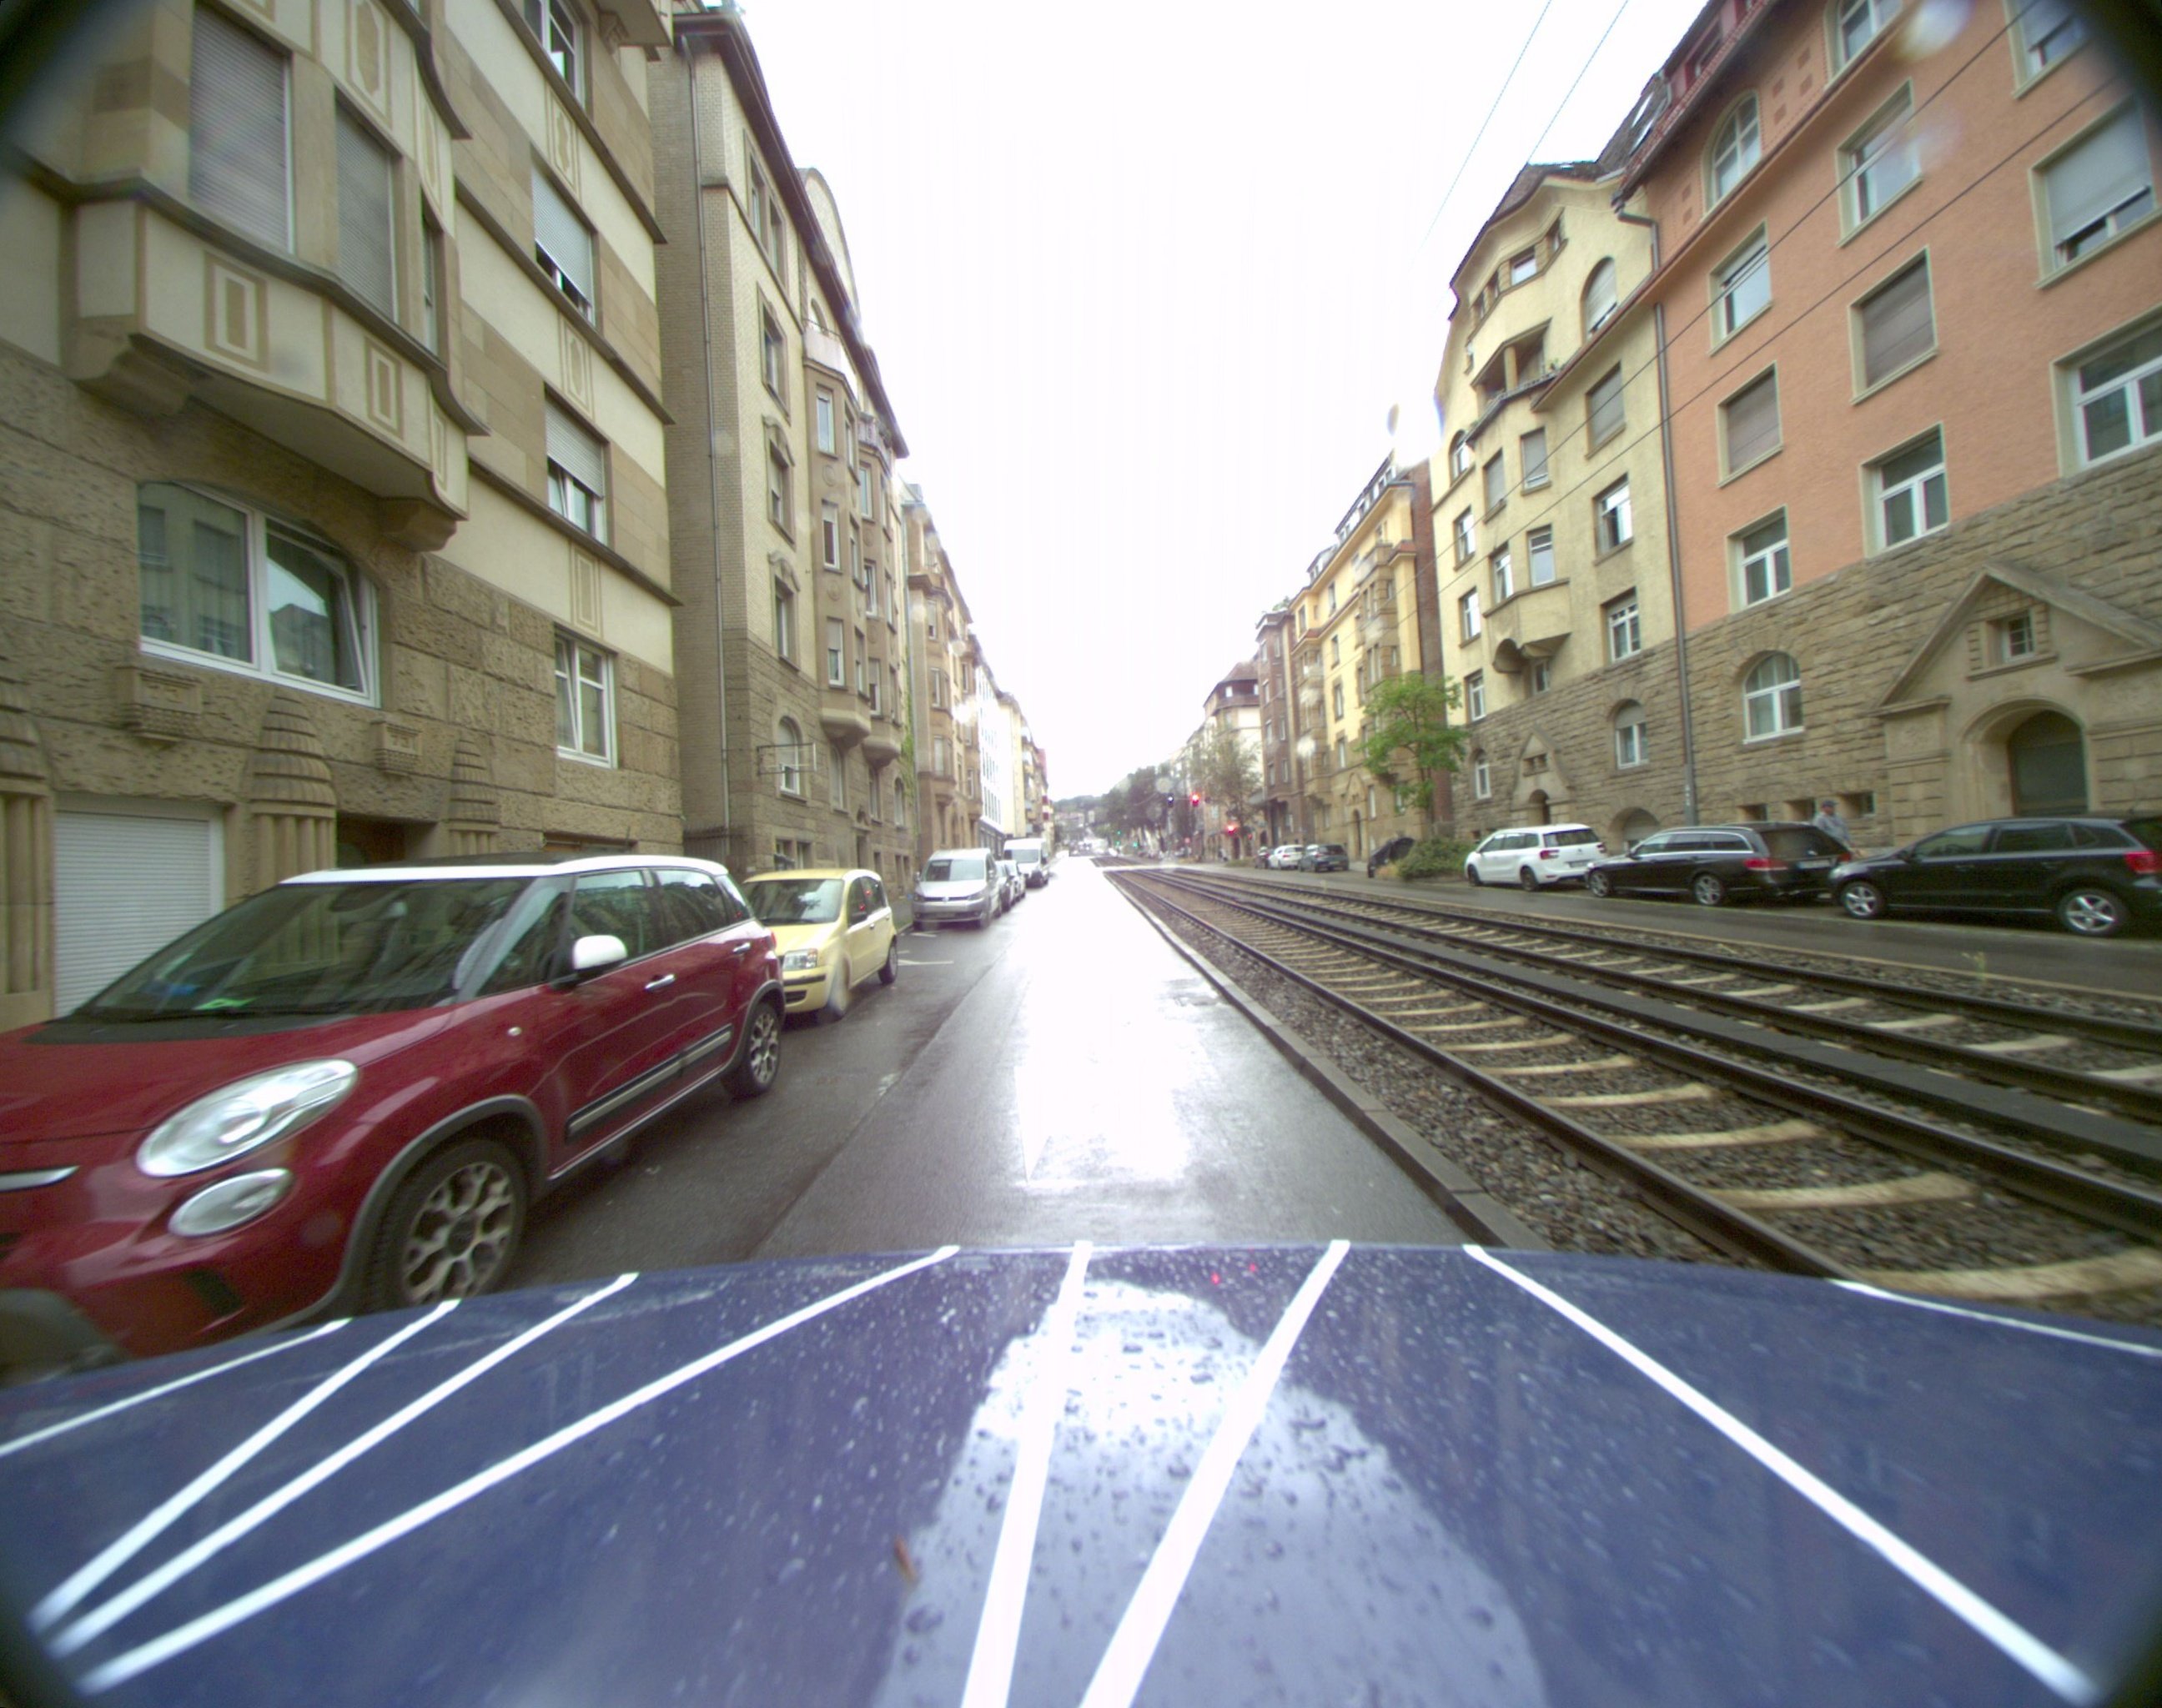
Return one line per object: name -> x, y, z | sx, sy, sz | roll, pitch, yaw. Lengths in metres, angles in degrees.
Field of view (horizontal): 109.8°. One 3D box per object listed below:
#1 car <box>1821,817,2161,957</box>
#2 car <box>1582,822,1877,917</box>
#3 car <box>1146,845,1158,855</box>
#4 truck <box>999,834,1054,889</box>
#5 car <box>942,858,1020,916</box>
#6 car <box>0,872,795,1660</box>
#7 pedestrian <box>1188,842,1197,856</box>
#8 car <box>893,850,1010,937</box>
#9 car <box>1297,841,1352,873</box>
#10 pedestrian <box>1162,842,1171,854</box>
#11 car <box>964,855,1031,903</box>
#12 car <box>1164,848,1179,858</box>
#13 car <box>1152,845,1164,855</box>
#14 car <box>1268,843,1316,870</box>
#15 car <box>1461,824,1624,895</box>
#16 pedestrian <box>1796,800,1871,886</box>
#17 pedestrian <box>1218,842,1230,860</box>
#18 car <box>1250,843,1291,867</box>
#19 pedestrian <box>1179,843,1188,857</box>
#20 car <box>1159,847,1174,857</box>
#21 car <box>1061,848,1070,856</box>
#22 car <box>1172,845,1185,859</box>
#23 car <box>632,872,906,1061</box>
car -> 12.522, 0.317, 9.994 | 1.935, 1.488, 3.641 | -2, 1, -2
car -> 12.285, 0.248, 14.912 | 1.847, 1.486, 4.601 | -3, 0, 1
car -> 12.428, -0.677, 133.231 | 1.632, 1.537, 3.801 | -3, 0, 1
truck -> -2.730, 0.329, 39.473 | 2.235, 2.521, 6.143 | -3, 0, 1
car -> -2.970, 0.931, 23.344 | 1.999, 1.521, 3.999 | -3, 0, -3
car -> -3.040, 0.977, 3.620 | 1.807, 1.590, 3.999 | -3, 0, -1
pedestrian -> 15.997, -0.661, 108.876 | 1.056, 1.946, 1.163 | -3, 1, 2
car -> -3.016, 0.843, 18.727 | 1.968, 1.792, 4.459 | -3, 0, 1
car -> 12.498, 0.122, 39.142 | 1.678, 1.433, 3.845 | -4, 1, 3
pedestrian -> 15.329, -1.044, 135.746 | 1.380, 1.946, 1.379 | -3, 1, 2
car -> -2.959, 0.872, 27.844 | 1.891, 1.521, 3.929 | -3, 0, 1
car -> 12.567, -0.123, 105.910 | 1.583, 1.303, 3.845 | -3, 0, 1
car -> 12.832, -0.676, 126.363 | 1.657, 1.589, 3.775 | -3, 0, 1
car -> 12.466, 0.109, 45.181 | 1.771, 1.433, 4.031 | -3, 0, 2
car -> 12.266, 0.133, 20.574 | 1.867, 1.646, 4.146 | -3, 0, 1
pedestrian -> 14.876, -0.224, 15.042 | 0.701, 1.633, 0.765 | -2, 1, 1
pedestrian -> 15.739, -0.341, 83.740 | 1.056, 1.946, 1.163 | -3, 1, 2
car -> 12.476, 0.055, 50.275 | 1.771, 1.433, 3.845 | -3, 0, 1
pedestrian -> 14.687, -0.612, 108.888 | 1.056, 1.946, 1.163 | -3, 1, 2
car -> 12.863, -0.315, 114.893 | 1.771, 1.507, 3.845 | -3, 0, 1
car -> -4.038, -0.449, 194.111 | 1.998, 1.838, 4.000 | -3, 0, 1
car -> 12.666, -0.267, 99.073 | 1.583, 1.669, 3.790 | -3, 2, 7
car -> -3.195, 1.047, 8.569 | 1.580, 1.520, 3.578 | -3, 0, -1
